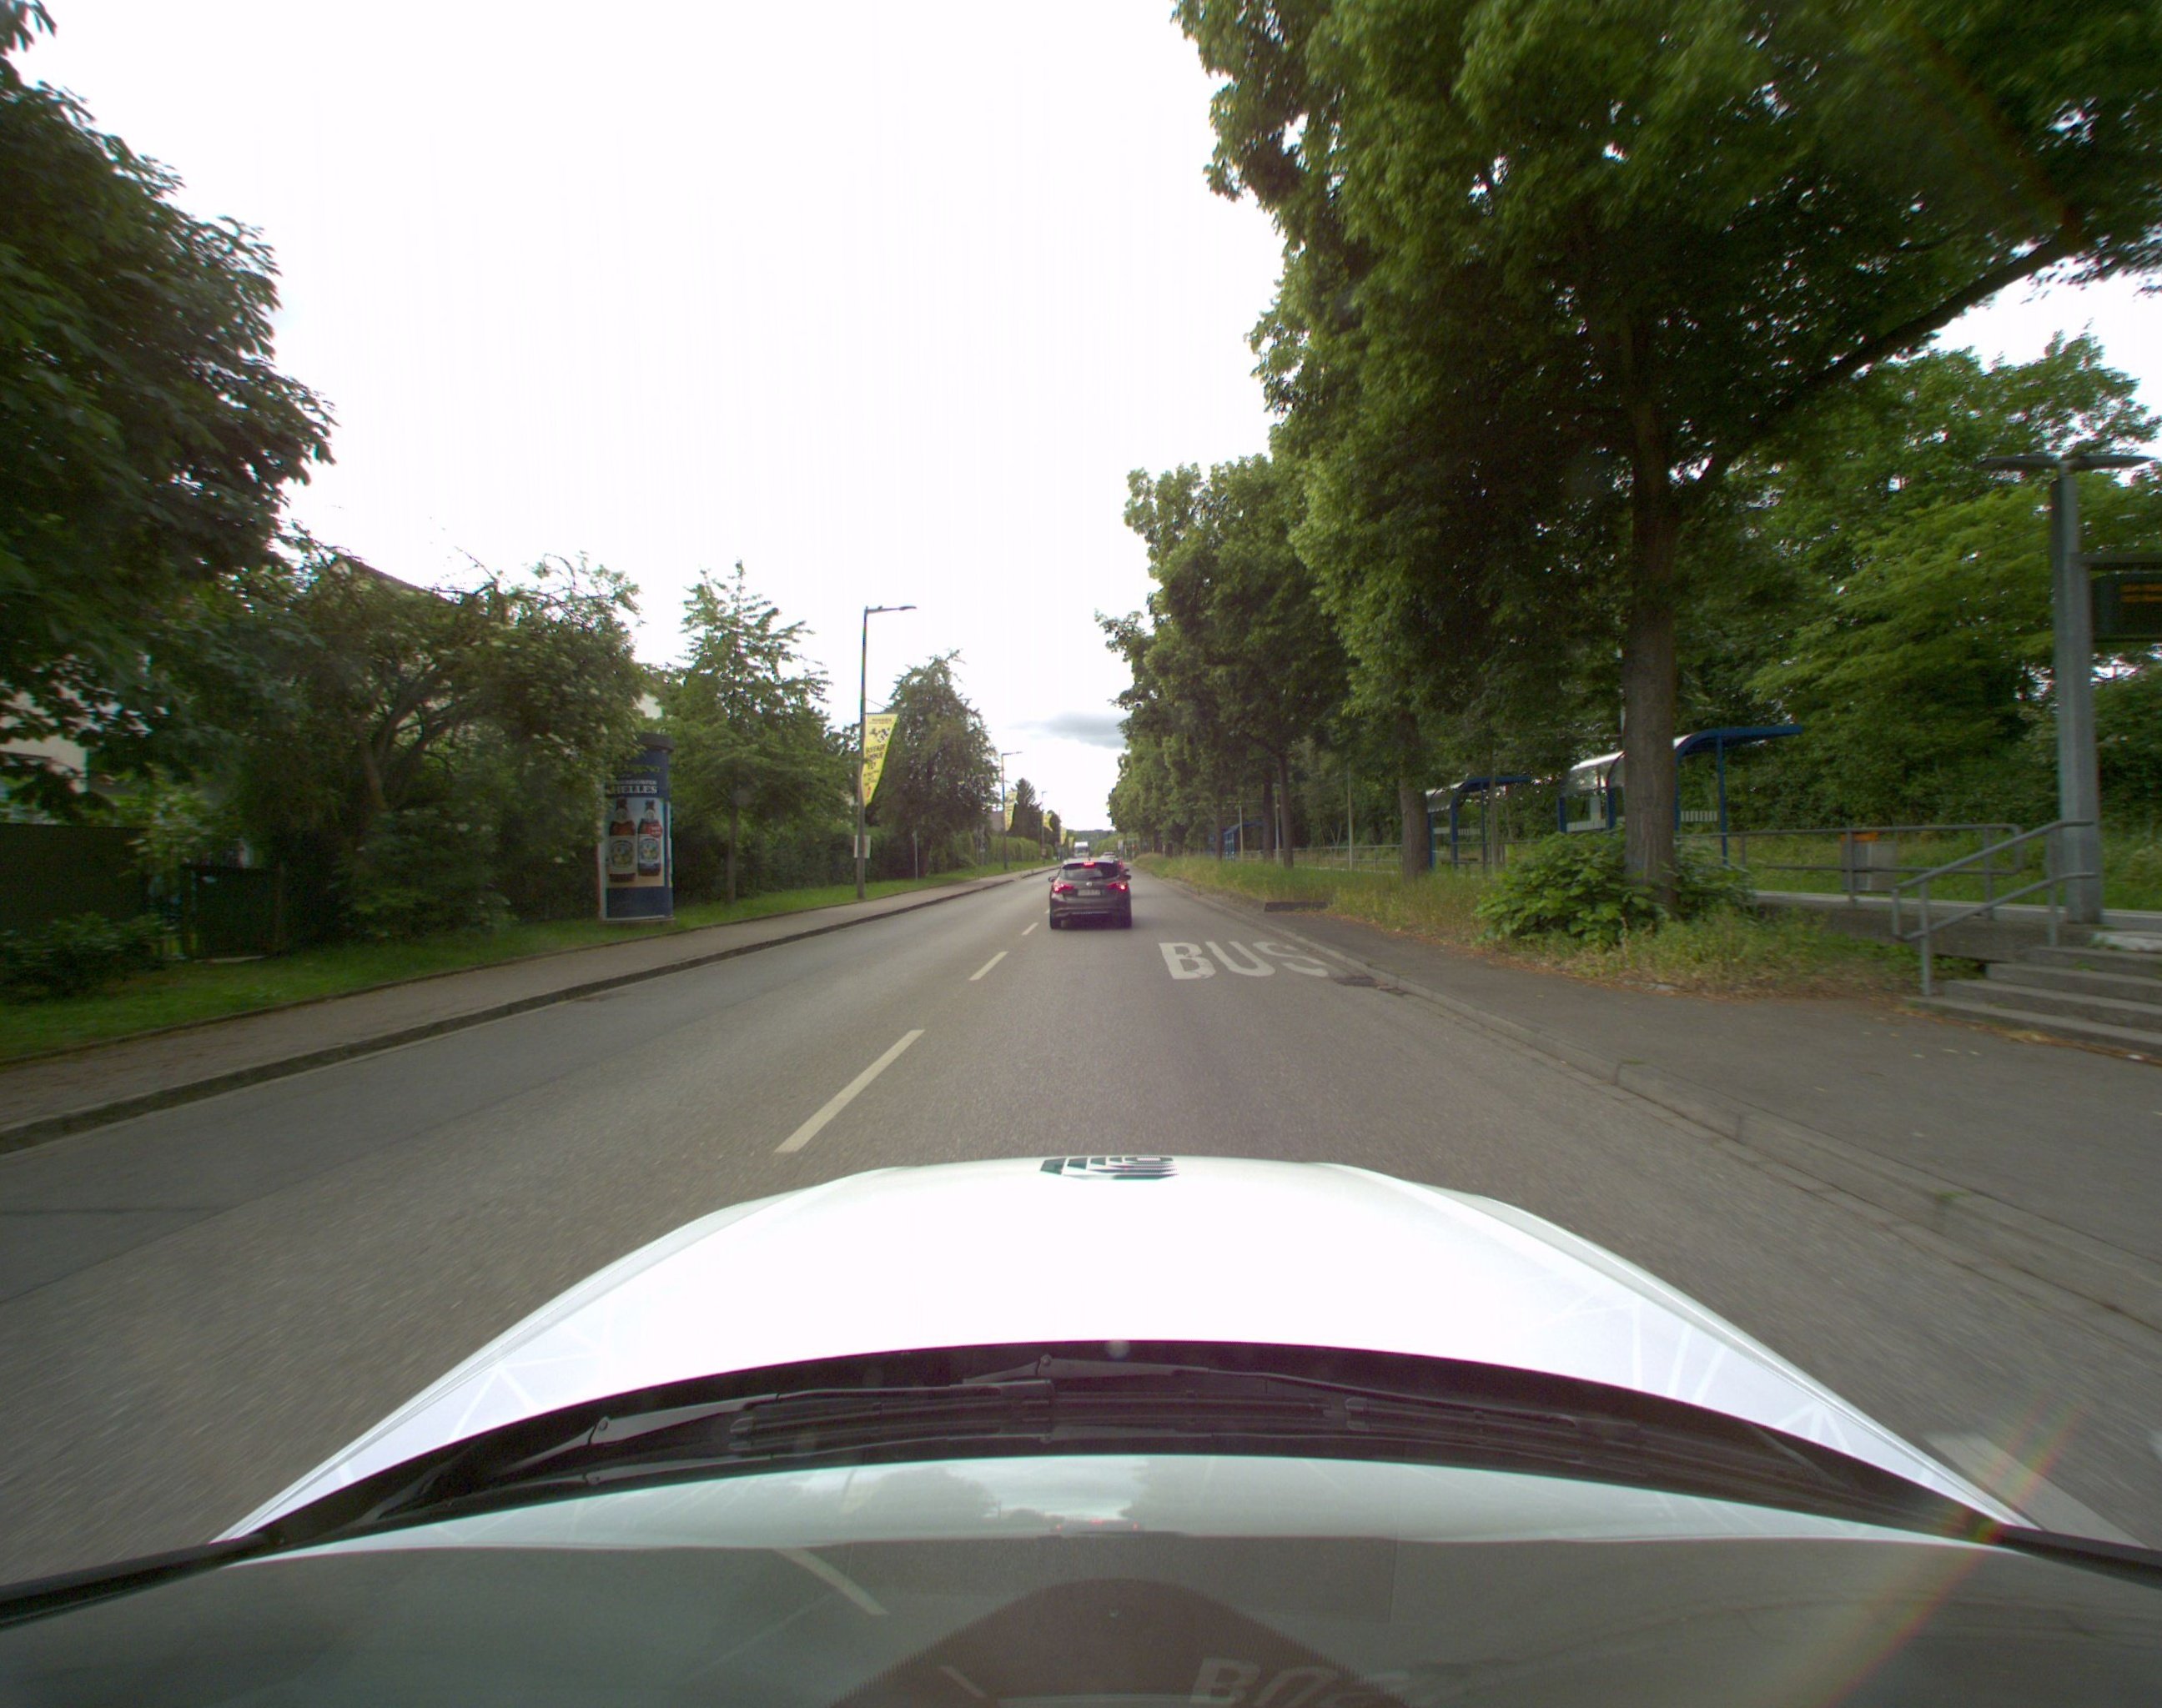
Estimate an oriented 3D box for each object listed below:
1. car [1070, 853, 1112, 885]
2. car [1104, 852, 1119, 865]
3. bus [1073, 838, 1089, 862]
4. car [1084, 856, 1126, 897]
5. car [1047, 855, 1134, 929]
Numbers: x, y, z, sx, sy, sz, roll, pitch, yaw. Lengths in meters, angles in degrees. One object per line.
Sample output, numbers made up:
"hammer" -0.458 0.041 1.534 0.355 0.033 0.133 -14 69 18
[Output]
"car" 0.563 0.769 40.652 1.986 1.486 4.001 1 -1 2
"car" 3.422 0.512 92.837 1.685 1.441 3.542 -1 0 1
"bus" 0.104 -0.683 146.873 2.478 4.025 10.220 -1 0 2
"car" 0.914 0.809 30.921 1.496 1.441 3.542 -1 0 1
"car" 0.256 0.805 18.753 1.777 1.507 3.697 -1 -1 2
